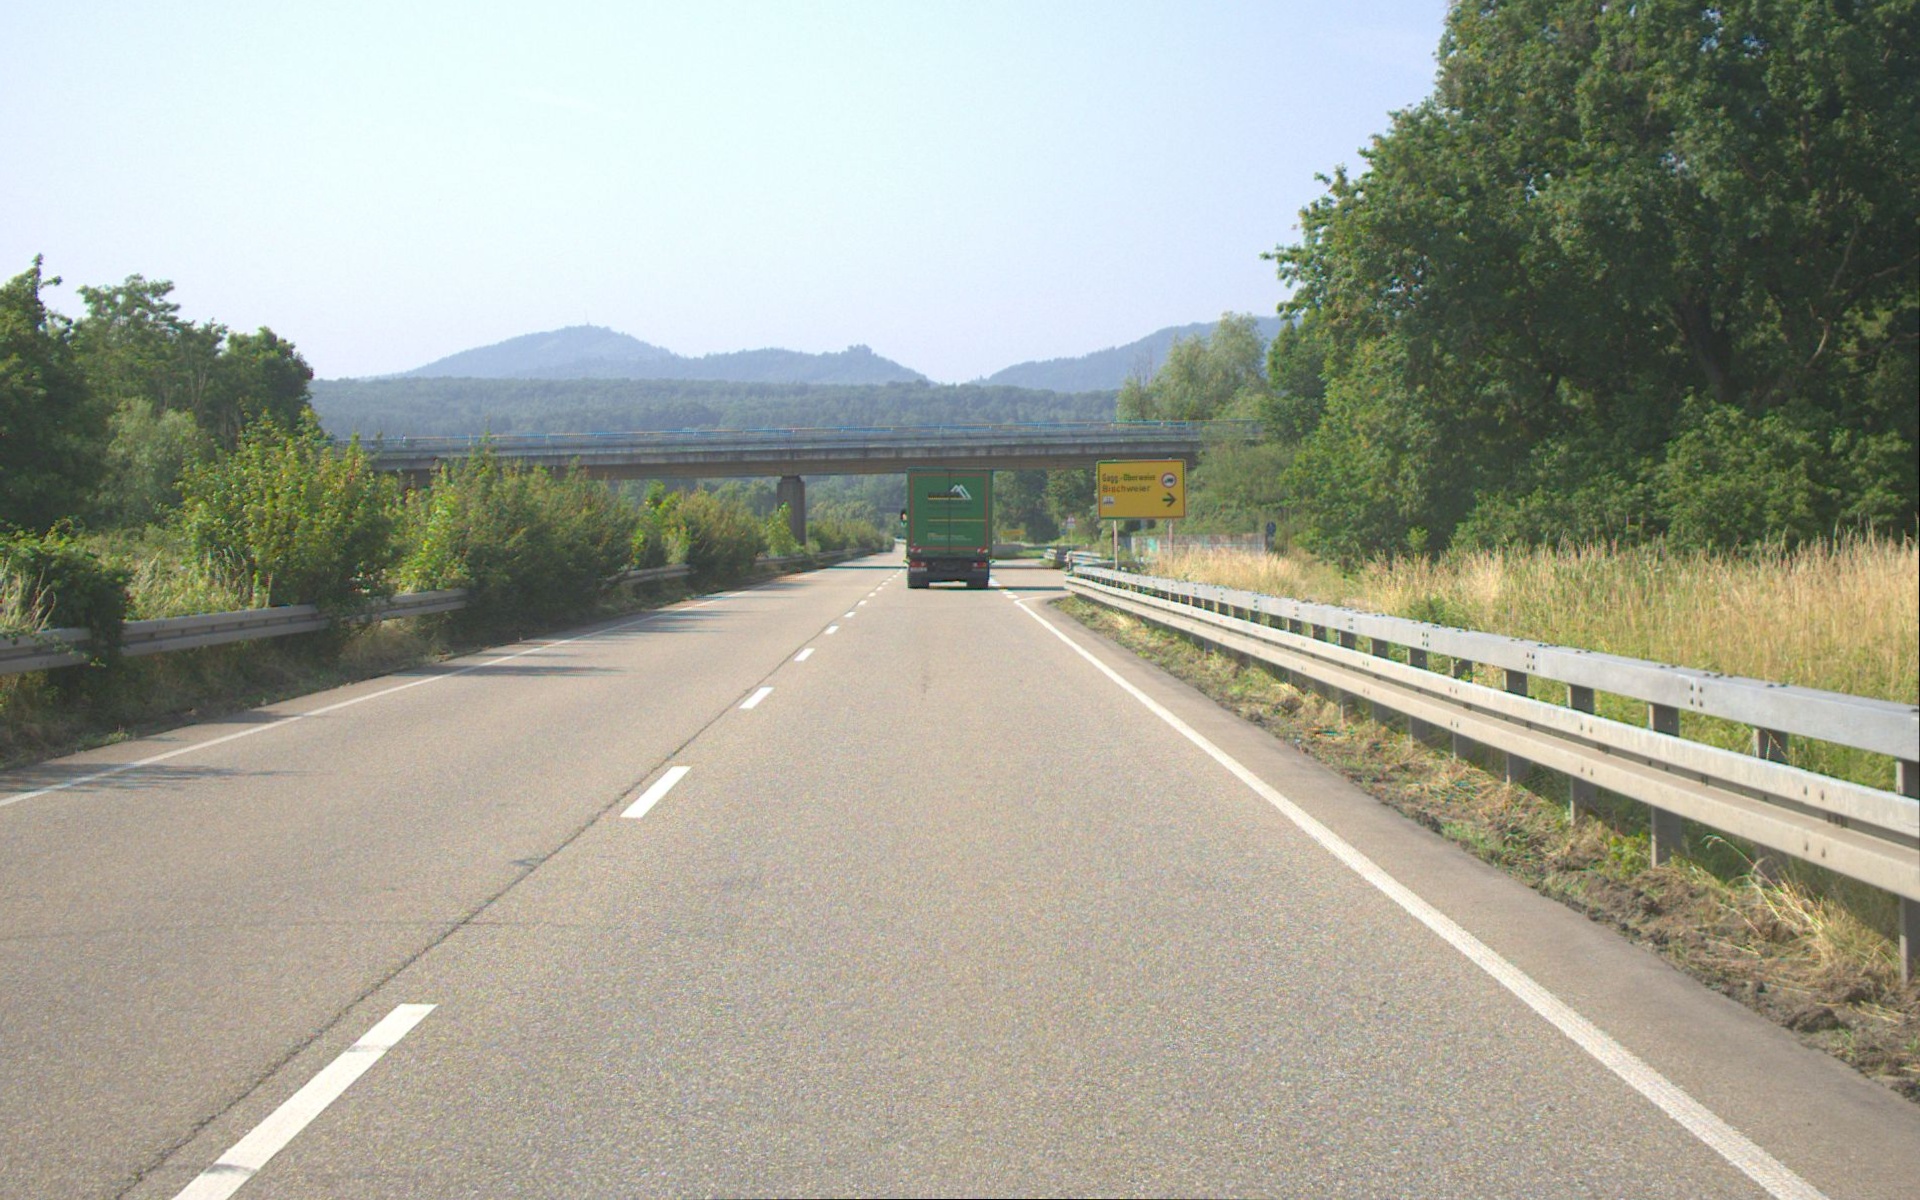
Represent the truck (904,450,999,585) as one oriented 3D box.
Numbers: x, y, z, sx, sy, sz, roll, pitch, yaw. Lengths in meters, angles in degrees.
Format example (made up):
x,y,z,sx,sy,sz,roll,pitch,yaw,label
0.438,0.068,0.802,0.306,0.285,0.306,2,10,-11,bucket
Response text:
x,y,z,sx,sy,sz,roll,pitch,yaw,label
-0.247,-2.651,106.680,2.722,3.951,10.417,1,2,0,truck
